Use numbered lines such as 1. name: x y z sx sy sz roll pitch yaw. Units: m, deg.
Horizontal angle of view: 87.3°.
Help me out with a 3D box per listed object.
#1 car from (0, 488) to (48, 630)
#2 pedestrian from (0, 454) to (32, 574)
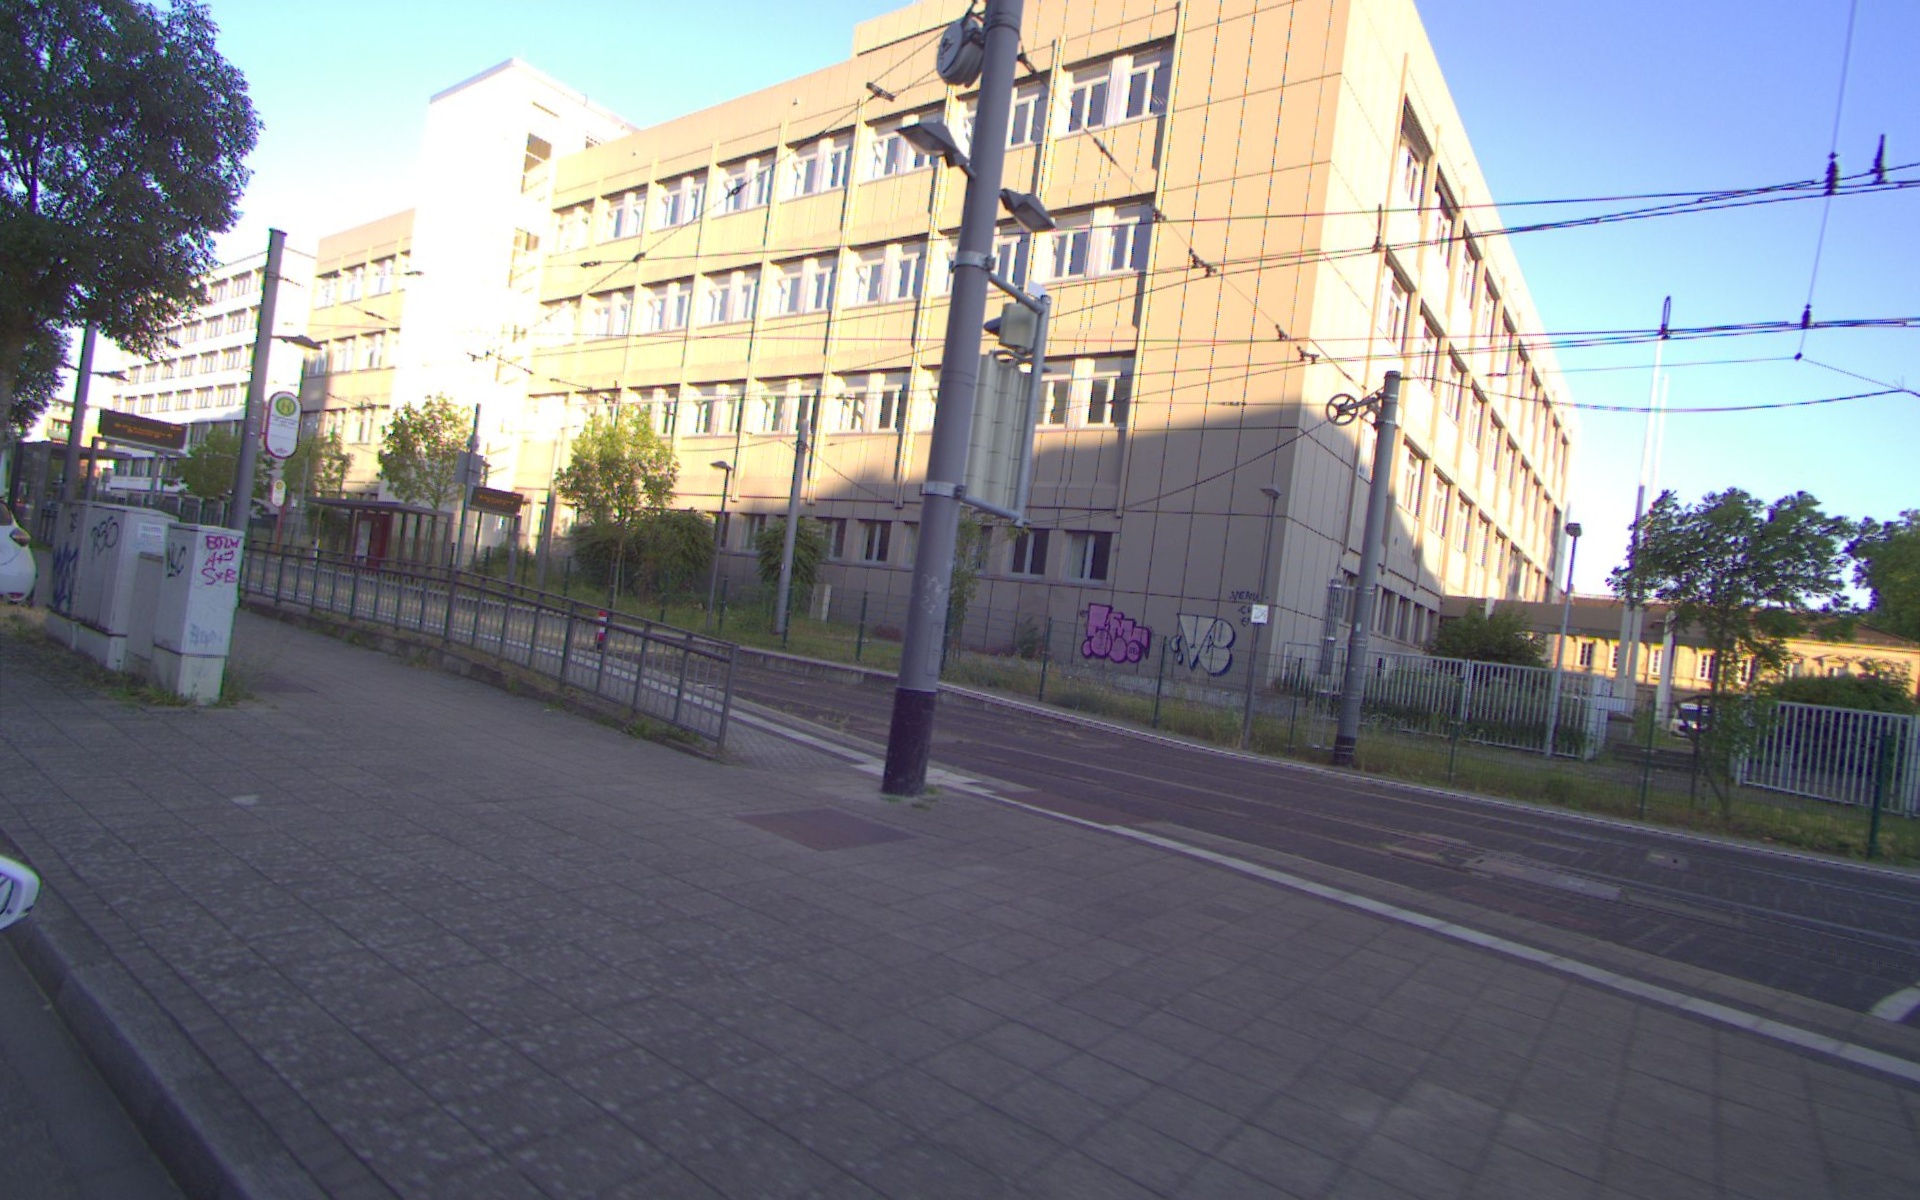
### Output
1. car: -12.816 -0.675 12.230 3.951 1.604 1.747 7 1 36
2. pedestrian: -17.050 -1.547 17.445 0.794 2.037 0.978 8 -1 -7
